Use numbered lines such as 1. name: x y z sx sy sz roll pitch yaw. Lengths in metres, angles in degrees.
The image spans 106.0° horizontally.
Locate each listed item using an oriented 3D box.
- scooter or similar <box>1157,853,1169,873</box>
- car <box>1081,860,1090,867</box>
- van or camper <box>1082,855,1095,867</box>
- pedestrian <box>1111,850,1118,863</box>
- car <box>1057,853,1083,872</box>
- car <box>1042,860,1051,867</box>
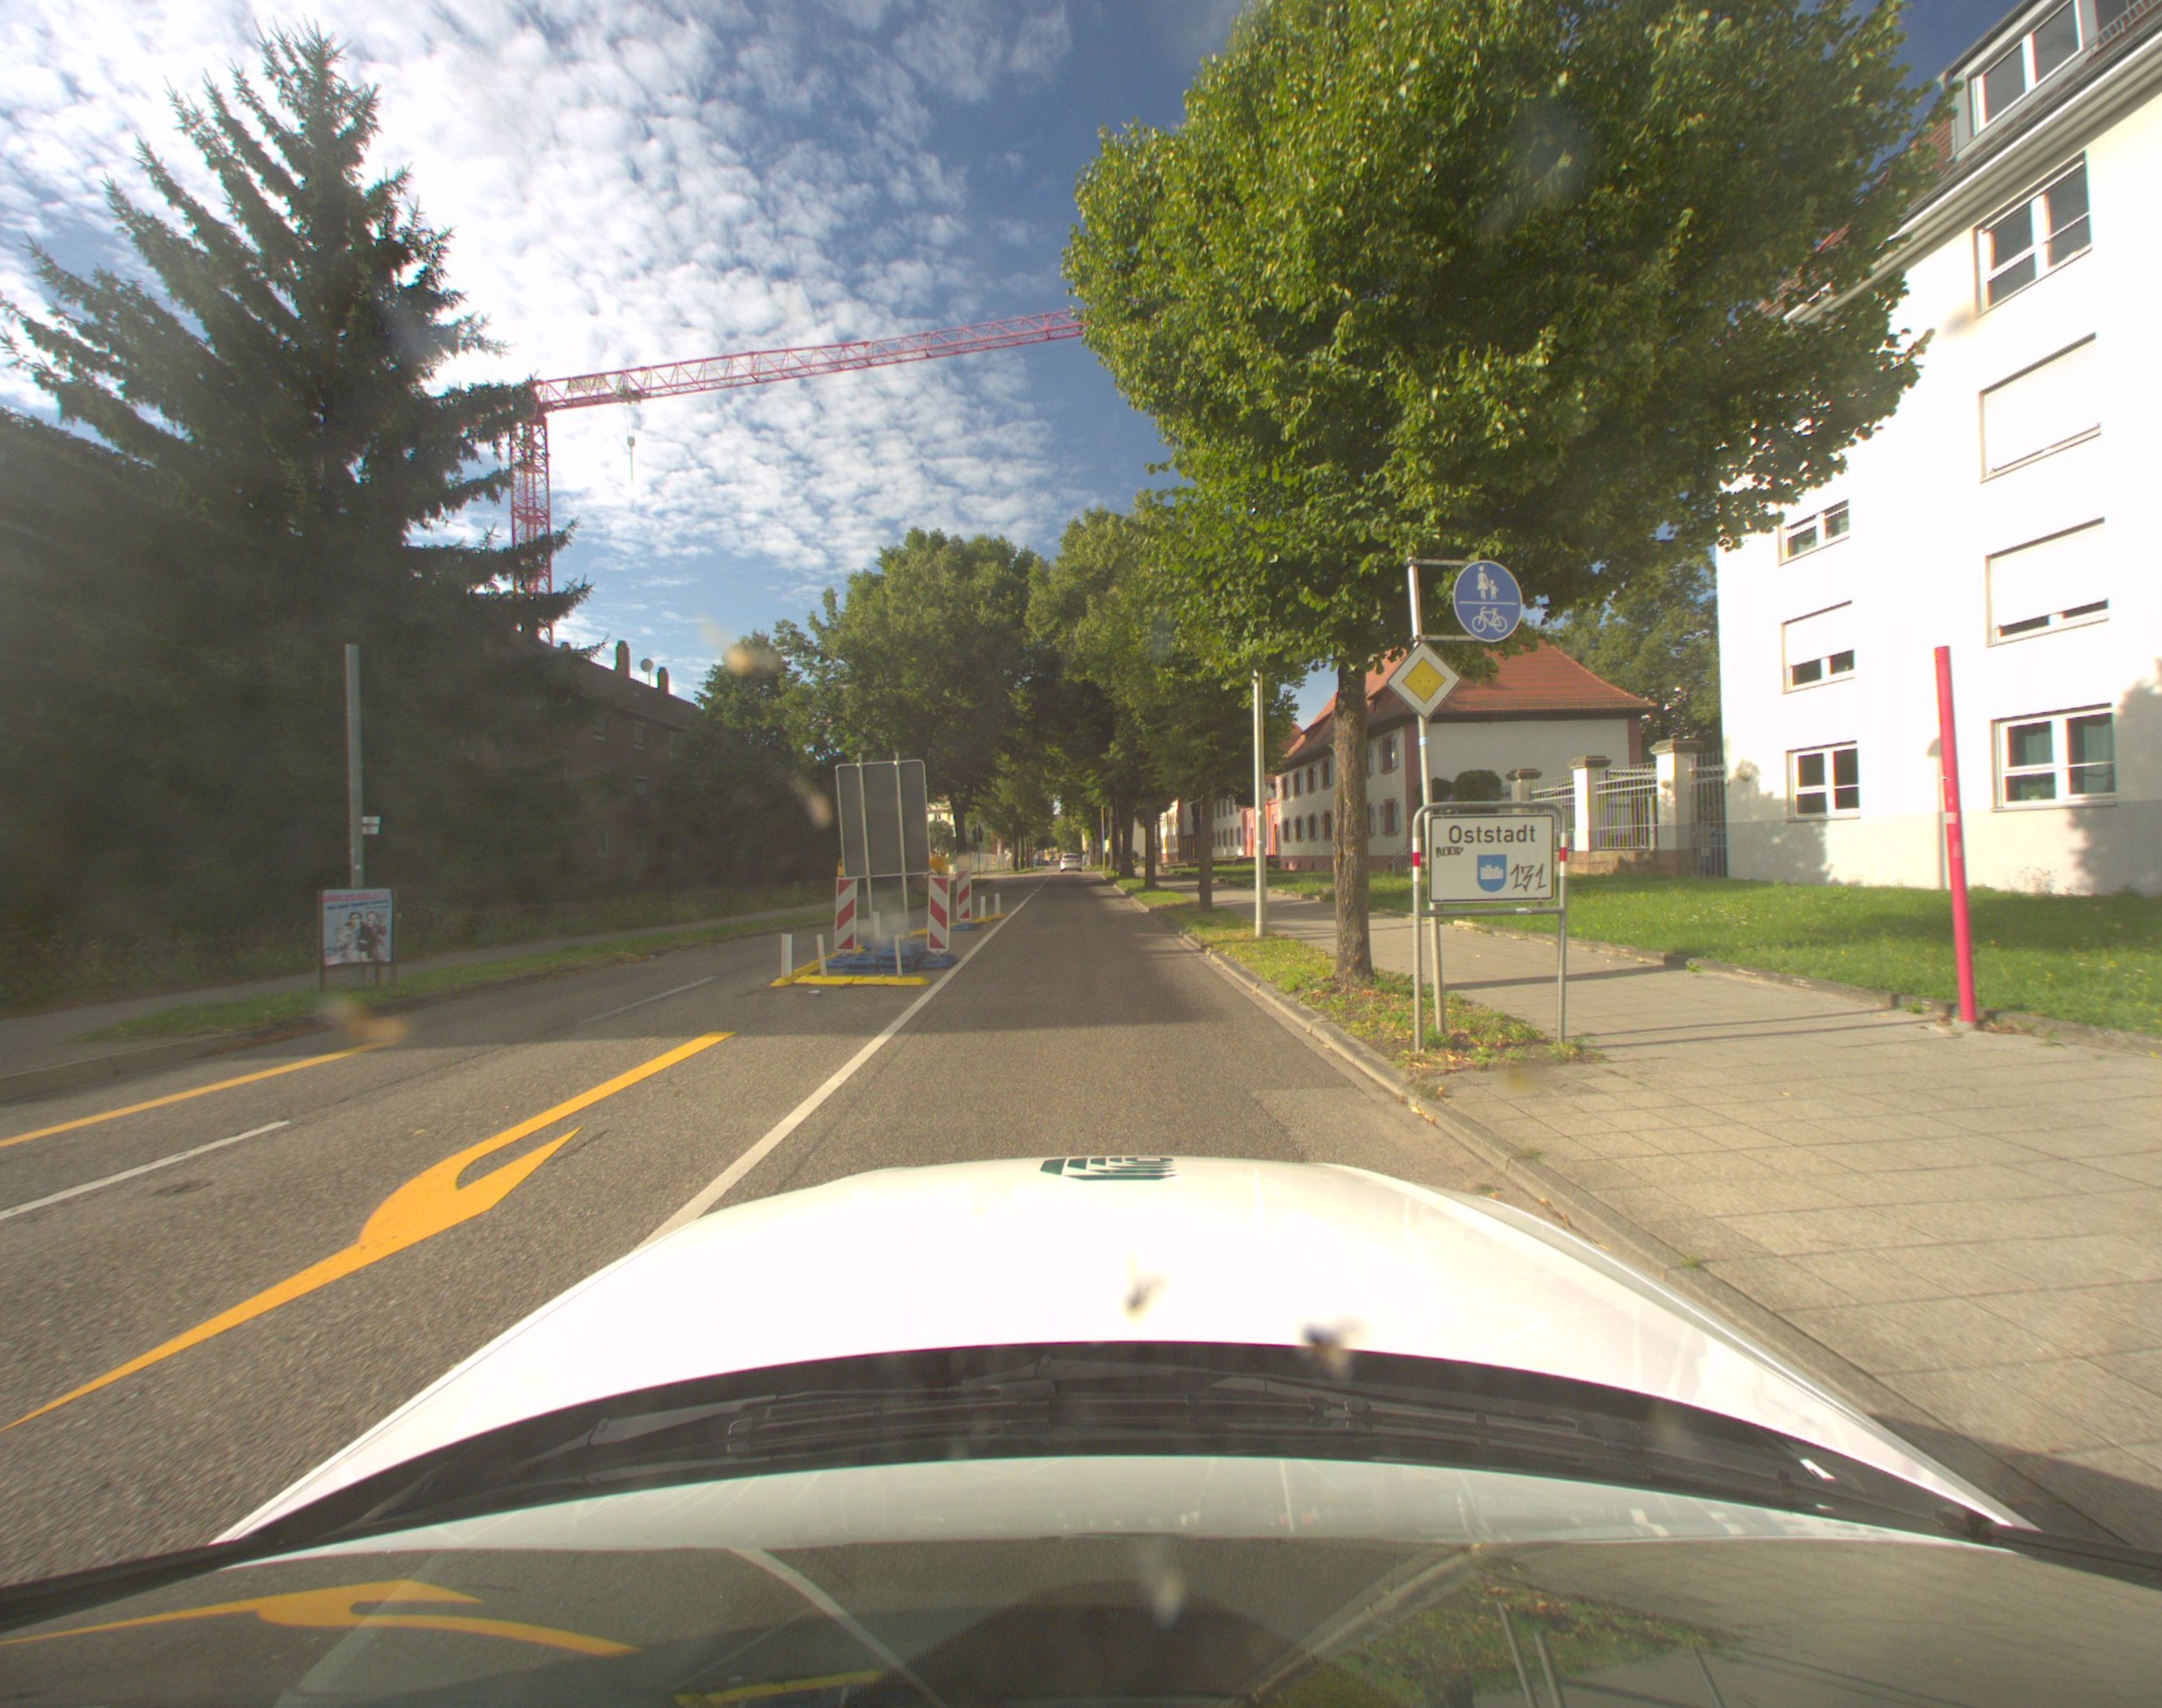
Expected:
1. scooter or similar: 5.274 0.581 52.588 0.577 1.291 1.381 -4 0 1
2. car: 1.061 2.228 197.128 1.988 1.574 3.997 -2 0 -2
3. van or camper: 1.703 1.605 186.226 2.206 2.607 5.362 -2 0 -5
4. pedestrian: 4.373 0.314 106.735 0.812 1.590 0.768 -4 -1 -2
5. car: -0.946 0.736 69.402 1.990 1.555 4.267 -1 -1 -4
6. car: -8.525 2.435 202.289 1.992 1.640 3.990 -2 0 -7
